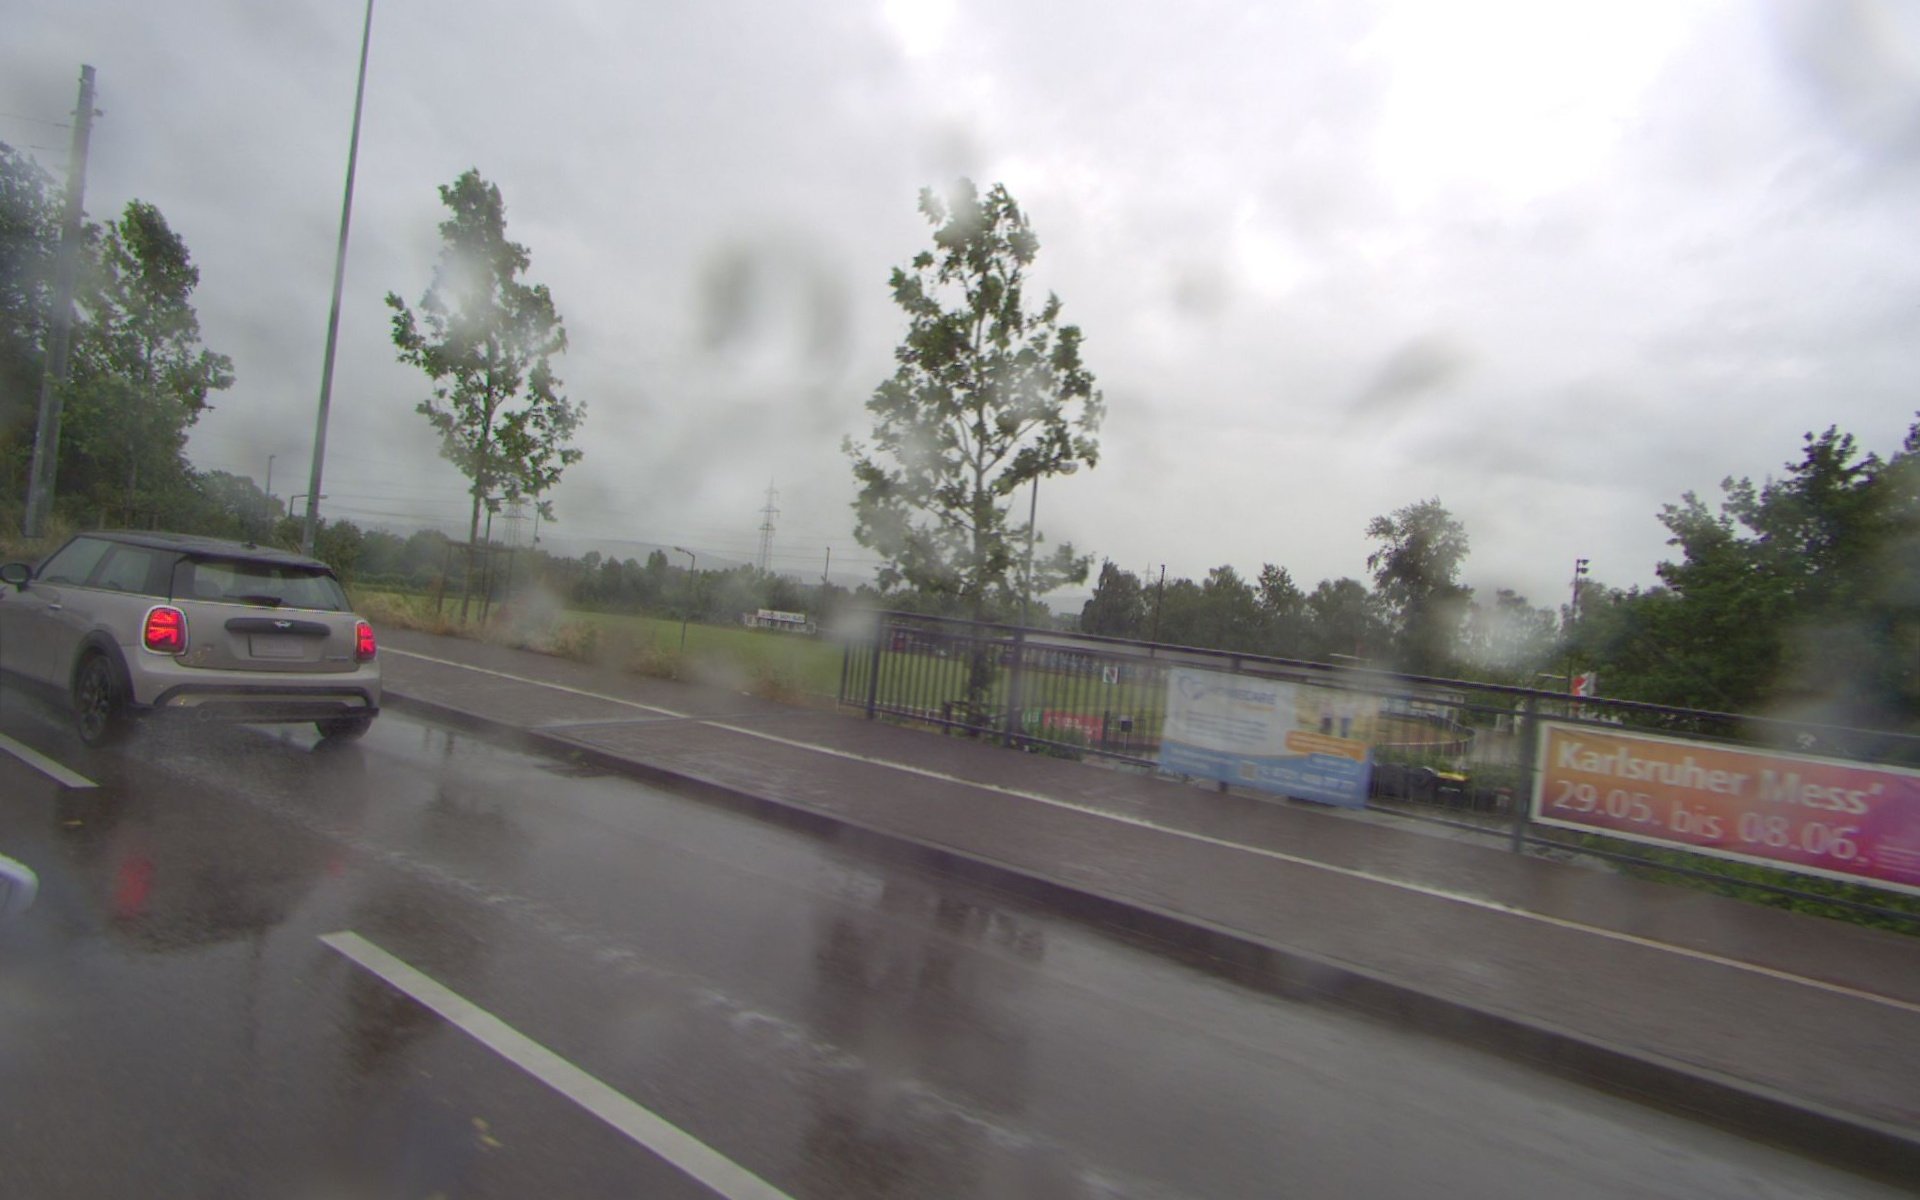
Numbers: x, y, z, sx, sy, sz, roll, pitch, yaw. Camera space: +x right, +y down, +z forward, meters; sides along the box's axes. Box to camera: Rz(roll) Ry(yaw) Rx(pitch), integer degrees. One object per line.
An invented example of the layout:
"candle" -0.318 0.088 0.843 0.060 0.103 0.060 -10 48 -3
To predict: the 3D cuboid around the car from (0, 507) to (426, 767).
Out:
"car" -6.162 0.183 7.793 3.790 1.430 1.795 7 -1 32
